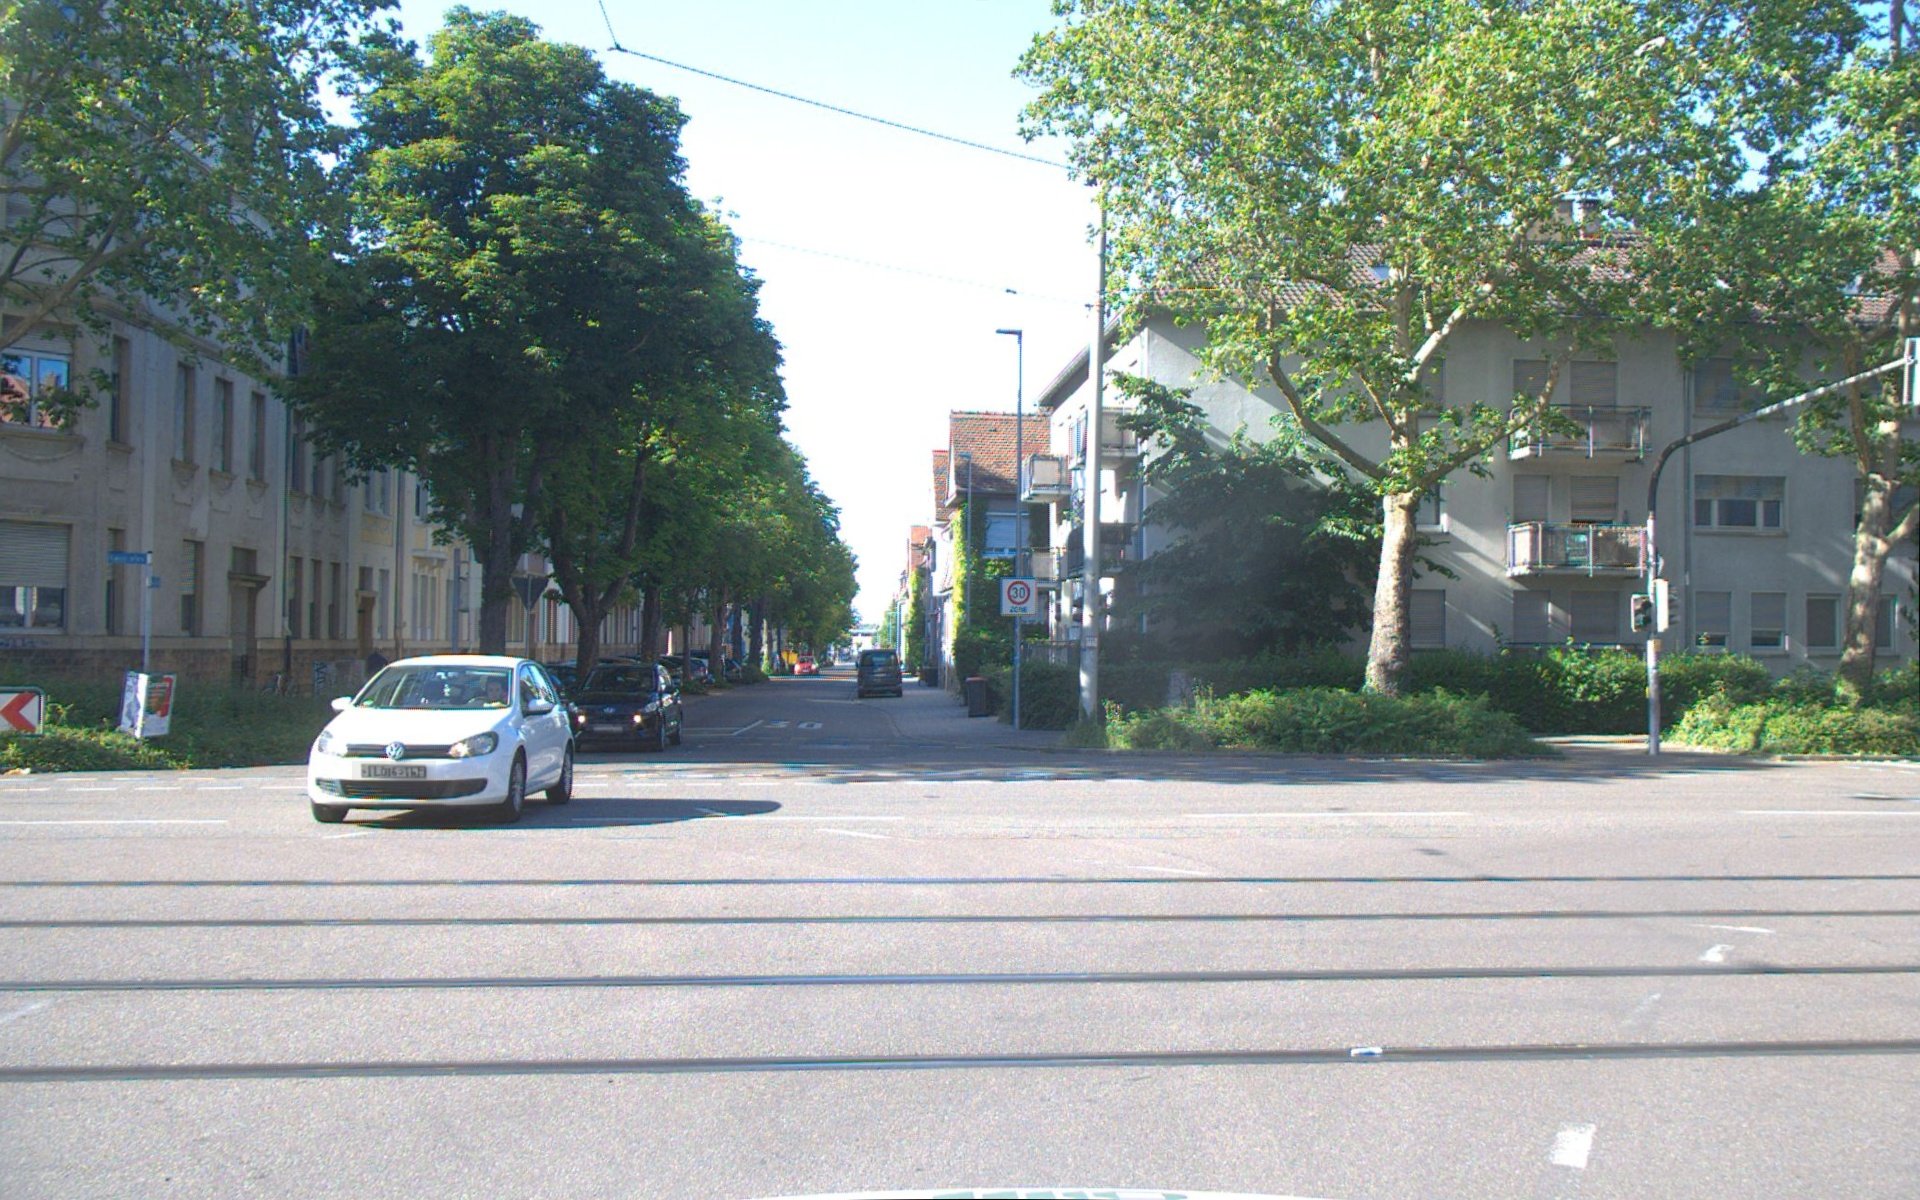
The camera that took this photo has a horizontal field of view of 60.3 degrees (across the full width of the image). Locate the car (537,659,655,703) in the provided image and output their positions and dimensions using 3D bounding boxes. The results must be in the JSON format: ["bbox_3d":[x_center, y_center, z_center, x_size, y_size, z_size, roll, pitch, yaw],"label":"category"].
[{"bbox_3d":[-13.177,2.925,60.030,3.907,1.534,1.721,0,-2,-2],"label":"car"}]

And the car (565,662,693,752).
[{"bbox_3d":[-5.796,1.843,29.331,1.627,1.490,3.806,0,-2,-2],"label":"car"}]

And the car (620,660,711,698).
[{"bbox_3d":[-13.557,3.647,76.233,3.908,1.620,1.857,2,-2,-4],"label":"car"}]

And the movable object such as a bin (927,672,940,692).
[{"bbox_3d":[-1.456,4.501,90.674,0.635,1.058,0.827,0,-2,-6],"label":"movable object such as a bin"}]

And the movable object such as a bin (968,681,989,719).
[{"bbox_3d":[0.538,2.846,47.147,0.474,1.062,0.656,-3,-2,-6],"label":"movable object such as a bin"}]

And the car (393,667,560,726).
[{"bbox_3d":[-12.022,2.399,41.330,3.811,1.440,1.611,1,-2,-10],"label":"car"}]

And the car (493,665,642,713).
[{"bbox_3d":[-11.908,2.715,50.345,4.128,1.373,1.701,1,-3,-4],"label":"car"}]

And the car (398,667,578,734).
[{"bbox_3d":[-11.117,2.358,39.139,3.805,1.502,1.614,0,-3,-4],"label":"car"}]

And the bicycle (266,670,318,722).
[{"bbox_3d":[-16.182,2.313,40.111,0.503,1.174,1.981,3,-1,-3],"label":"bicycle"}]

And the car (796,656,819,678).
[{"bbox_3d":[-11.121,4.868,120.765,1.608,1.535,3.699,-1,-2,-4],"label":"car"}]

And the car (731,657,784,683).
[{"bbox_3d":[-15.390,5.299,125.665,3.911,1.792,1.795,3,-3,-7],"label":"car"}]

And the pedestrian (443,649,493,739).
[{"bbox_3d":[-9.451,1.800,31.773,0.679,1.711,0.680,0,-2,7],"label":"pedestrian"}]

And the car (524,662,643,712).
[{"bbox_3d":[-11.909,2.760,52.513,3.364,1.478,1.702,1,-3,-1],"label":"car"}]

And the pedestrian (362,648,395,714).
[{"bbox_3d":[-15.162,2.106,43.164,0.450,1.687,0.895,0,-2,5],"label":"pedestrian"}]

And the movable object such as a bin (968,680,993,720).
[{"bbox_3d":[0.570,2.799,46.410,0.585,1.062,0.706,-3,-2,-6],"label":"movable object such as a bin"}]

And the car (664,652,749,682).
[{"bbox_3d":[-13.901,3.677,90.839,4.443,1.529,1.890,1,-3,-5],"label":"car"}]

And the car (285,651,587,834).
[{"bbox_3d":[-4.735,1.271,15.539,1.770,1.484,3.996,0,-3,-4],"label":"car"}]

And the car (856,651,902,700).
[{"bbox_3d":[-3.400,3.158,69.741,1.828,1.950,4.779,2,-2,-3],"label":"car"}]

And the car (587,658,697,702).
[{"bbox_3d":[-12.318,3.109,64.273,3.907,1.594,1.862,2,-3,-2],"label":"car"}]
